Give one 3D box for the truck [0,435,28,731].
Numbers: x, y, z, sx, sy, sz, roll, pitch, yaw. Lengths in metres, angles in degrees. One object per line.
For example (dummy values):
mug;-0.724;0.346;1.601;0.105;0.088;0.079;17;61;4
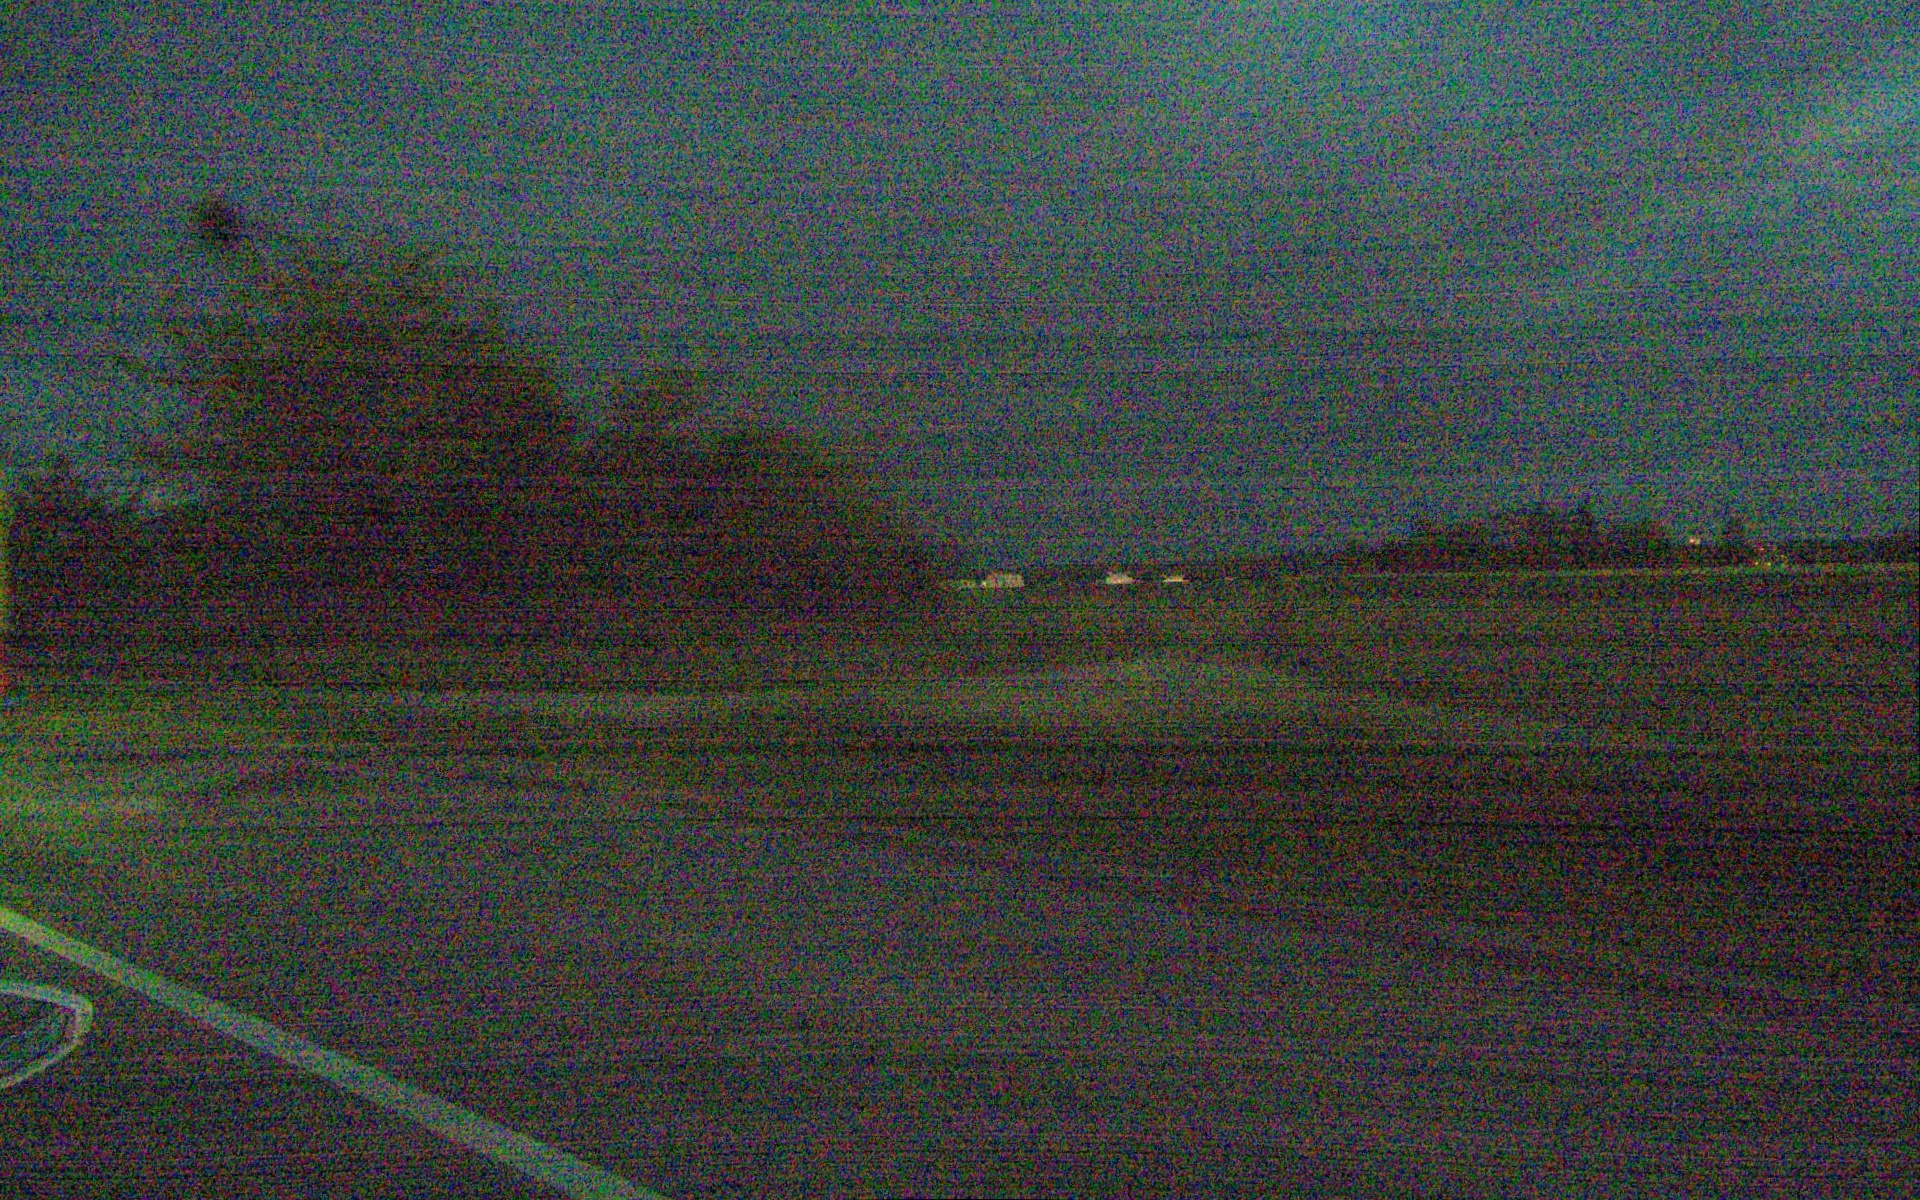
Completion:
truck;-16.485;-0.257;14.798;6.044;4.124;2.574;0;-1;34
